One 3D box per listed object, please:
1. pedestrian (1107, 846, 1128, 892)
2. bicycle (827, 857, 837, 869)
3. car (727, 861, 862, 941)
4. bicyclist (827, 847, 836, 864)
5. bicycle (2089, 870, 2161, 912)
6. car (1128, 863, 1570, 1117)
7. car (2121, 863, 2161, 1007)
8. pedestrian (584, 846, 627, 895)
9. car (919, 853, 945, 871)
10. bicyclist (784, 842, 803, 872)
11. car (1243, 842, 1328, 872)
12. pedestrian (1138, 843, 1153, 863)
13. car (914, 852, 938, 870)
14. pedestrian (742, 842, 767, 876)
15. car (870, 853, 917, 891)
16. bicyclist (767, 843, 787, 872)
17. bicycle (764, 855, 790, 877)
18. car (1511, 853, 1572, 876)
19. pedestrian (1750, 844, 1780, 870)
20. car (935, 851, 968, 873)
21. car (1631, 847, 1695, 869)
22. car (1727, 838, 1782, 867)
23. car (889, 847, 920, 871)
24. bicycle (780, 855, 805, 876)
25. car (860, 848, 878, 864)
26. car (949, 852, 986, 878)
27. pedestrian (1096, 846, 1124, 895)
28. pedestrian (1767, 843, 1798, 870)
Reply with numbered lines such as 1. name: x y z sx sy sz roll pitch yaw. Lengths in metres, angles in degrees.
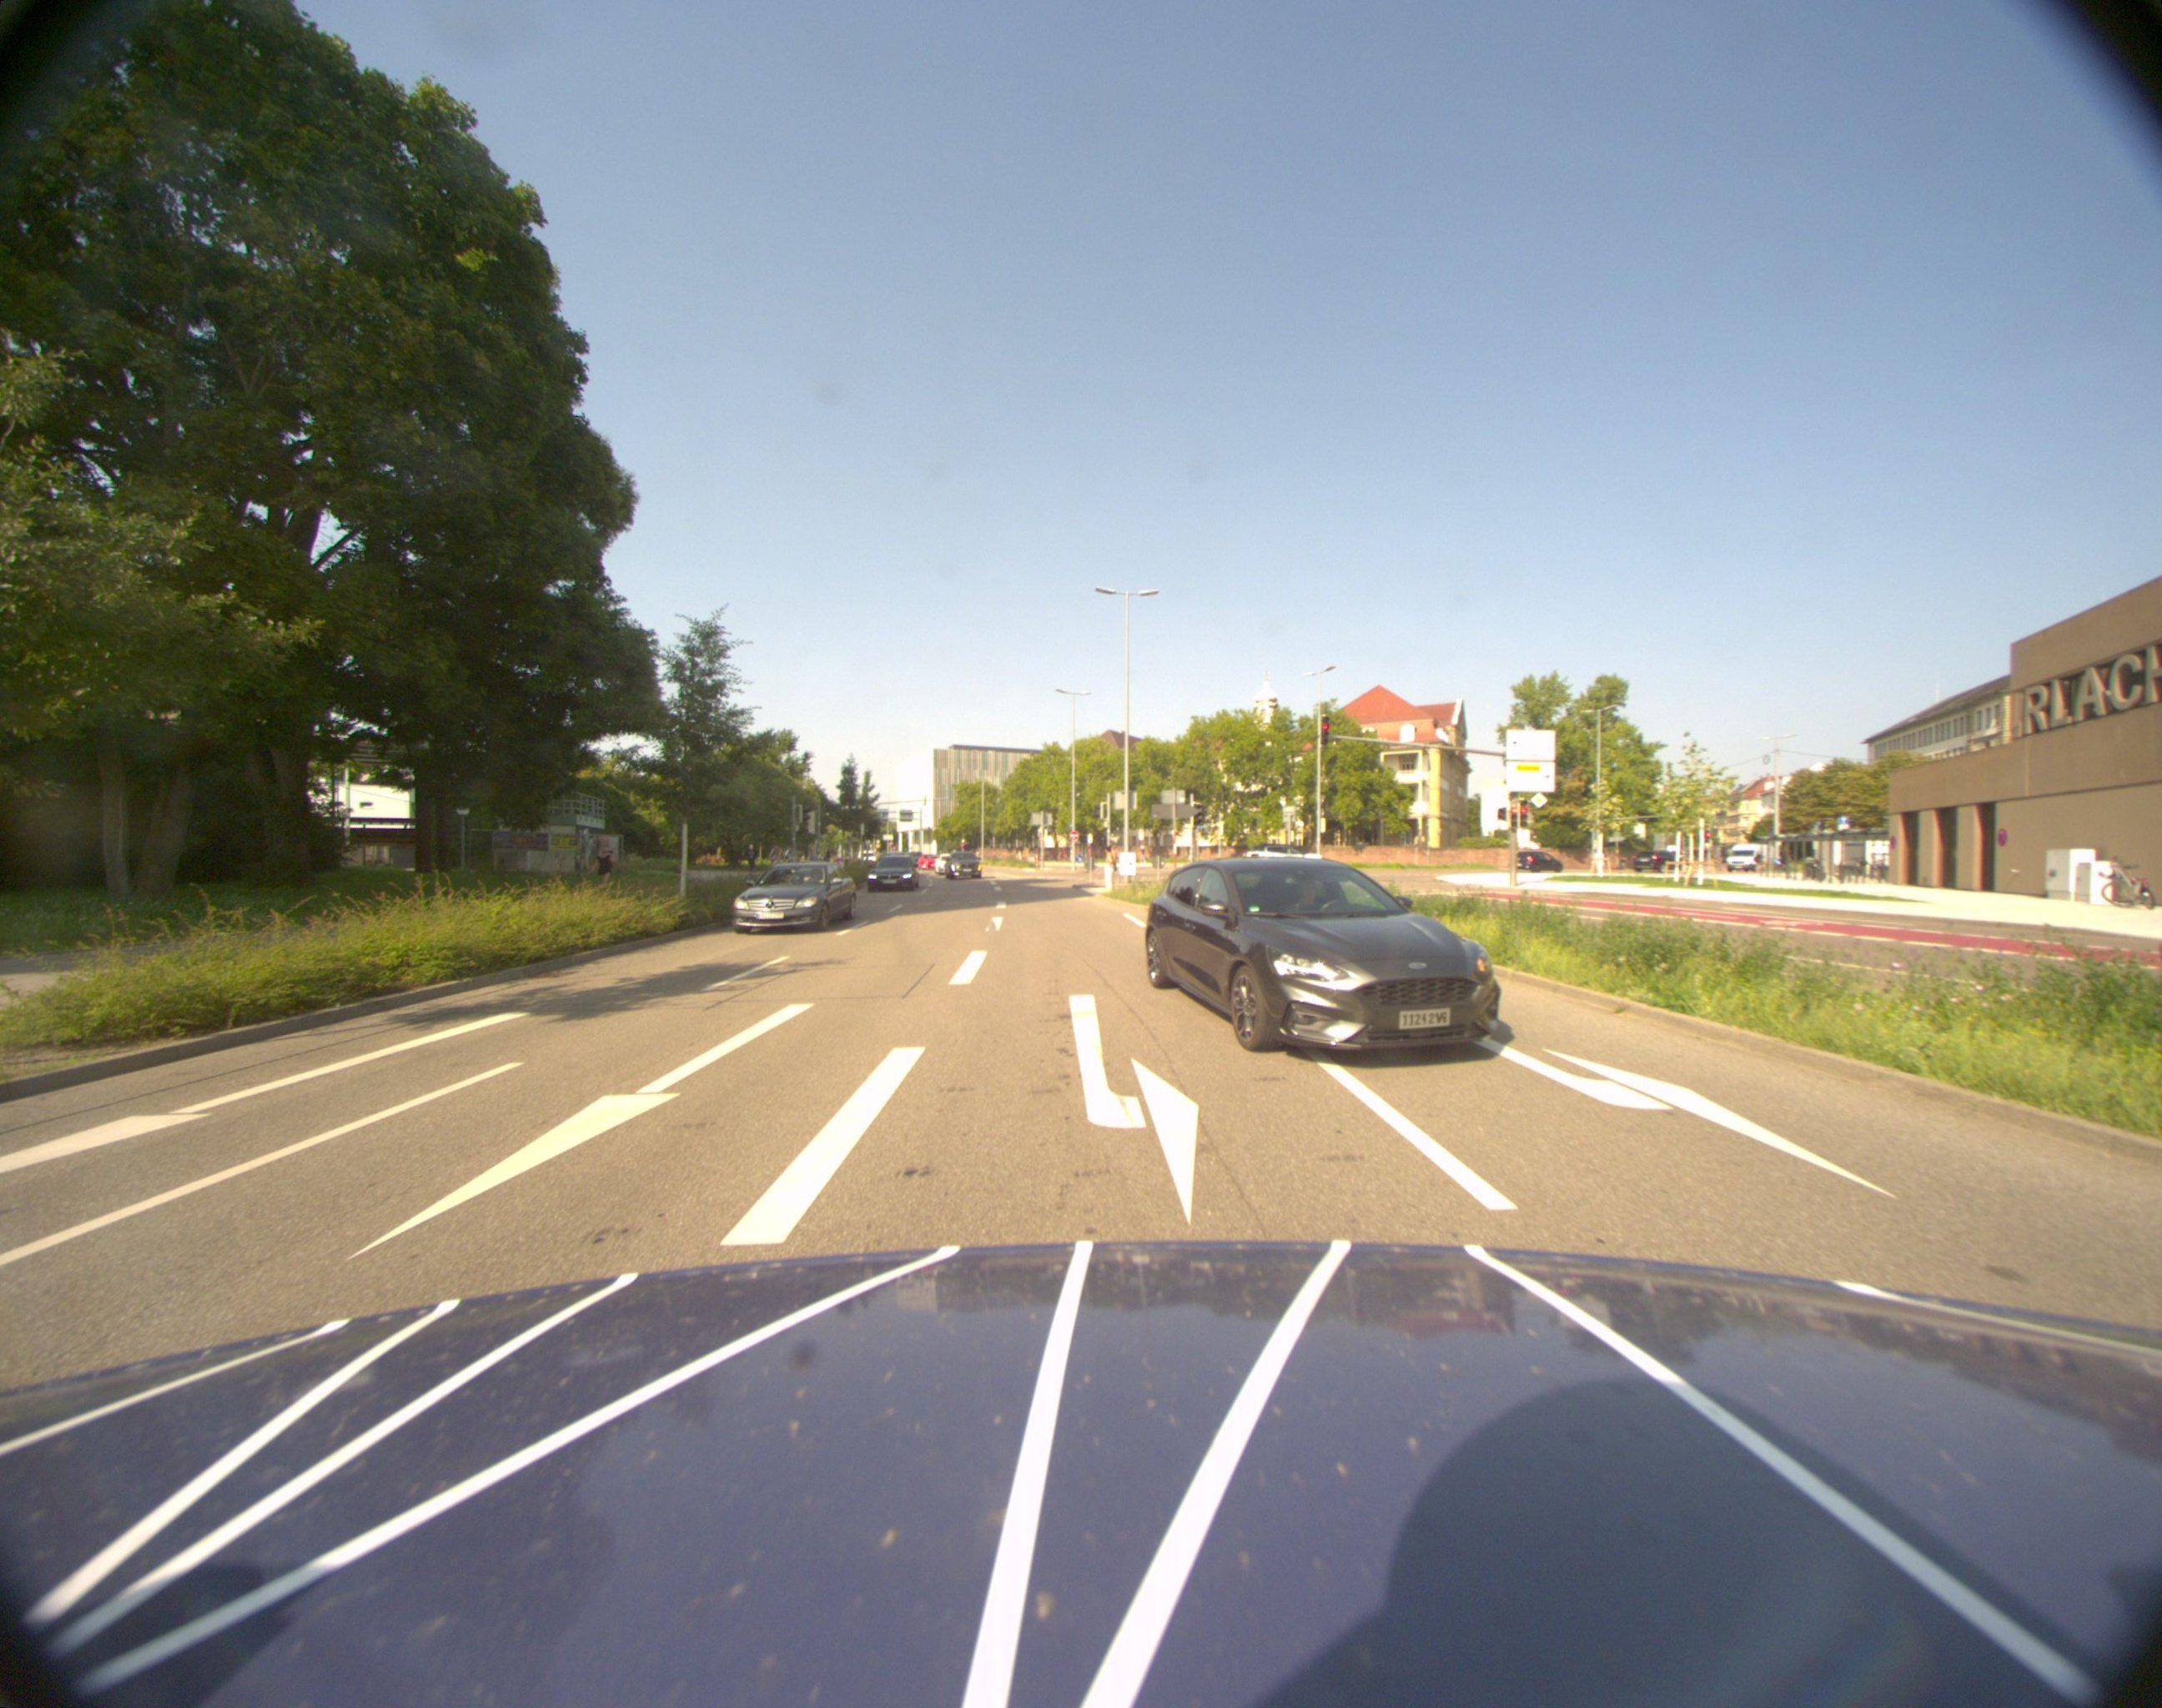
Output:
1. pedestrian: 1.348 0.546 28.238 0.669 1.689 0.691 0 1 -8
2. bicycle: -23.825 0.868 72.707 0.774 1.111 2.300 -1 1 -17
3. car: -6.130 0.913 16.781 1.688 1.434 4.369 -1 1 -6
4. bicyclist: -23.832 0.123 72.706 0.774 1.666 0.922 -1 1 -17
5. bicycle: 23.288 0.808 16.854 0.591 0.833 1.550 -3 -1 33
6. car: 1.860 0.848 6.976 1.838 1.427 4.545 -1 1 -10
7. car: 11.701 0.825 5.740 1.818 1.425 4.223 0 1 -3
8. pedestrian: -14.300 0.493 22.878 0.726 1.435 0.857 0 1 1
9. car: -13.181 0.684 67.247 1.689 1.483 4.365 0 0 -19
10. bicyclist: -15.646 0.170 41.321 0.773 1.584 0.923 0 1 -8
11. car: 11.623 0.189 43.469 4.368 1.623 2.001 0 -1 2
12. pedestrian: 6.397 -0.113 75.119 1.080 2.002 1.316 -1 1 -17
13. car: -16.115 0.779 78.854 1.785 1.682 4.527 -3 0 -19
14. pedestrian: -17.499 0.274 40.707 0.961 1.772 1.002 2 0 -10
15. car: -7.929 0.724 32.470 1.688 1.483 4.668 0 0 -11
16. bicyclist: -16.519 0.182 41.329 0.773 1.584 0.923 -1 1 -8
17. bicycle: -16.529 0.639 41.383 0.773 1.111 2.302 -1 1 -8
18. car: 30.683 0.682 50.638 3.855 1.489 1.622 0 1 -25
19. pedestrian: 51.582 0.224 57.304 1.344 2.002 1.210 0 1 -19
20. car: -9.381 0.553 54.882 1.785 1.474 4.526 0 1 -17
21. car: 43.462 0.297 56.714 4.378 1.624 1.996 0 0 -25
22. car: 63.230 -0.133 71.314 5.559 2.437 1.995 -3 1 -28
23. car: -12.634 0.316 54.249 1.785 1.597 4.413 0 1 -18
24. bicycle: -15.638 0.624 41.230 0.773 1.111 2.302 0 0 -7
25. car: -26.368 0.269 94.498 1.690 1.930 4.364 0 0 -21
26. car: -6.747 0.612 44.864 1.689 1.483 4.366 0 0 -15
27. pedestrian: 1.002 0.548 25.853 0.667 1.645 0.780 1 1 29
28. pedestrian: 53.359 0.182 57.812 1.344 2.002 1.210 0 1 -19
